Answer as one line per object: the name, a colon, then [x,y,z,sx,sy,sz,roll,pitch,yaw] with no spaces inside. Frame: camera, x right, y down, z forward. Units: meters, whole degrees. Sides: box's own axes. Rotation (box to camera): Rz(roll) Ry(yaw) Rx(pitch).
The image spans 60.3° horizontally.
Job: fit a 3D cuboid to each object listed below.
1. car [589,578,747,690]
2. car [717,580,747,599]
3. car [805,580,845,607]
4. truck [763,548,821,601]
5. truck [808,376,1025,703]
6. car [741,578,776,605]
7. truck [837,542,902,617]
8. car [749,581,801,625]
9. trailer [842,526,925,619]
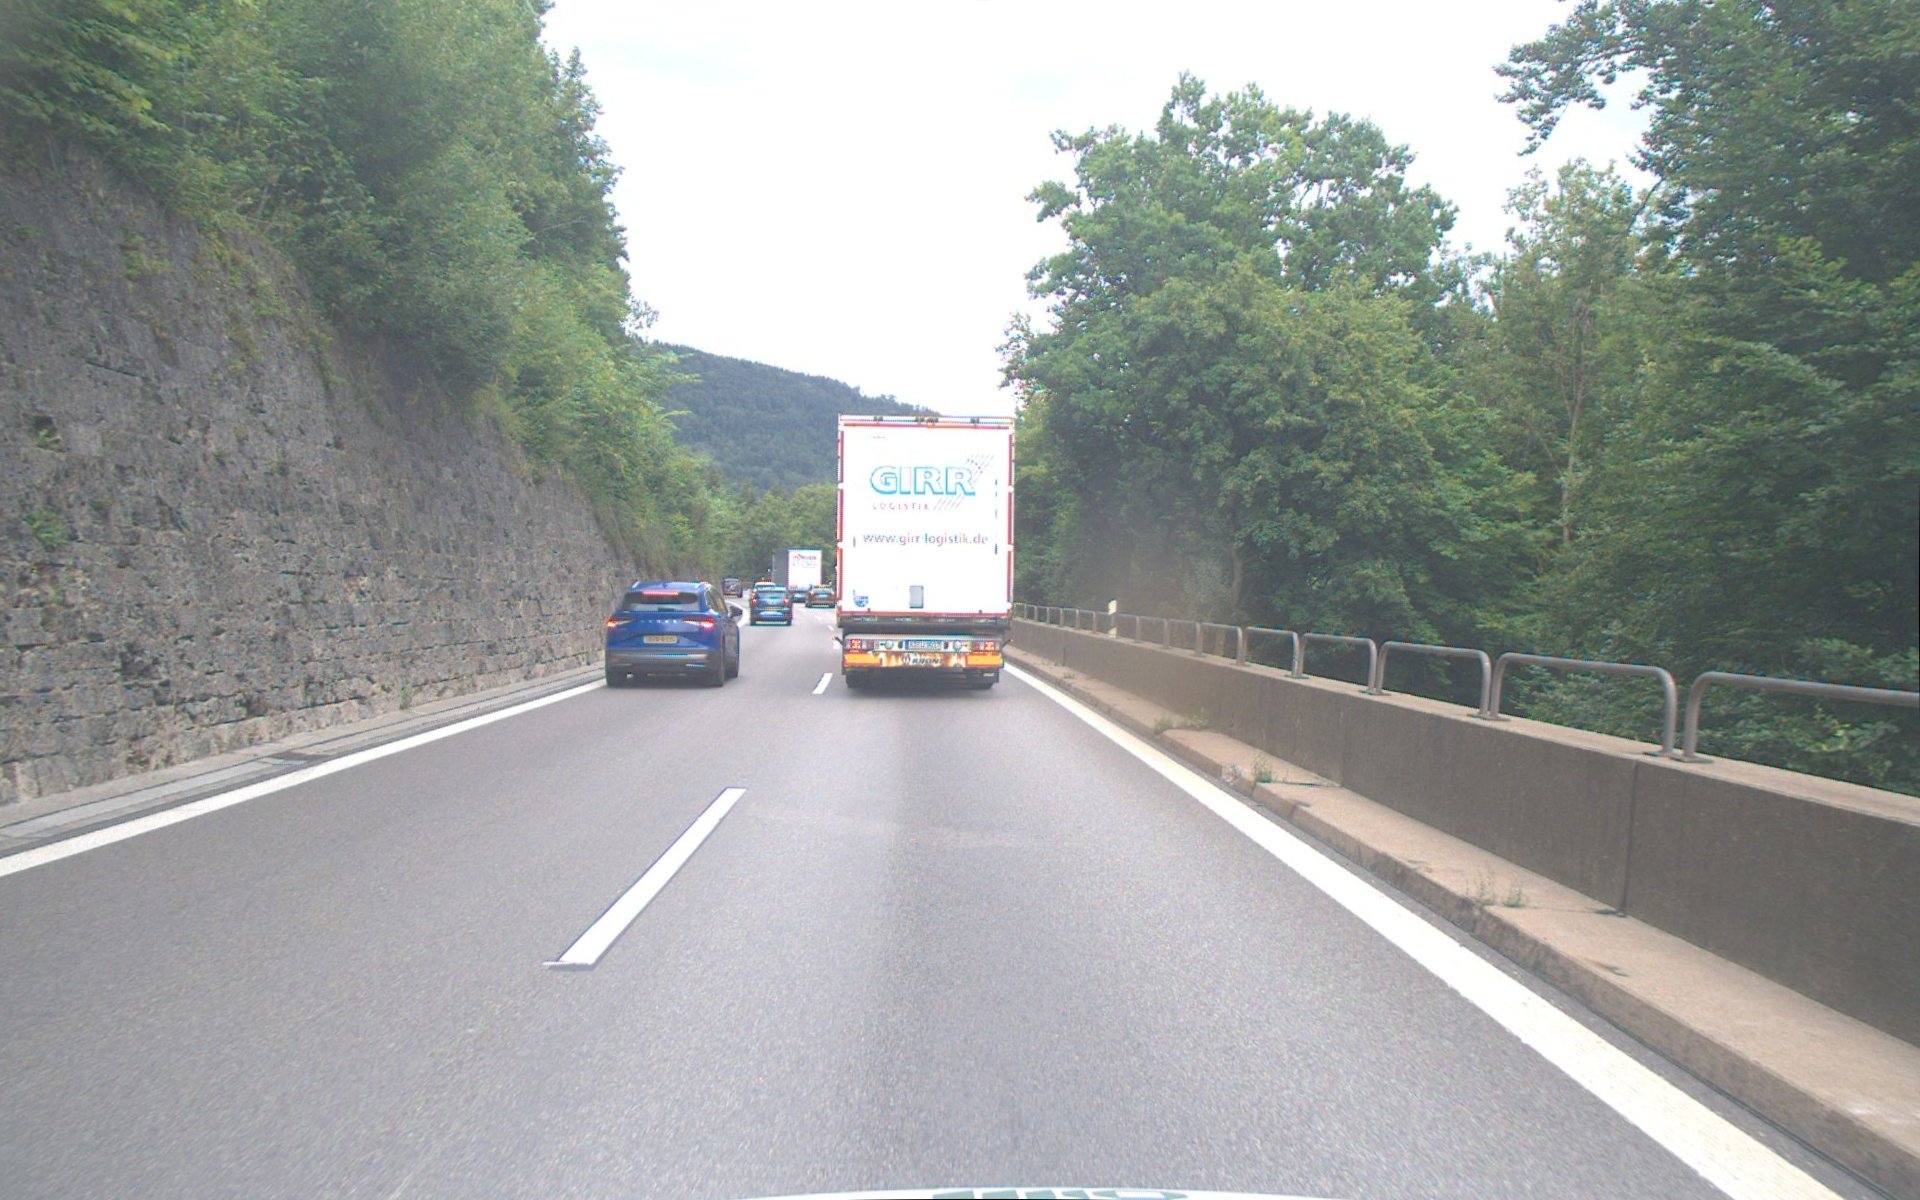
car: [-4.687,0.497,27.237,1.954,1.660,5.005,0,0,-3]
car: [-19.703,-0.923,142.834,1.867,1.577,4.228,1,1,-18]
car: [-8.724,-0.419,106.617,2.025,1.683,3.987,0,1,-13]
truck: [-13.127,-1.928,128.107,2.591,3.925,12.309,0,1,-15]
truck: [-0.790,-0.934,30.613,3.022,4.542,15.151,0,1,-1]
car: [-12.758,-0.551,104.552,1.863,1.577,4.237,1,1,-12]
truck: [-3.741,-0.809,67.441,2.168,2.901,4.994,1,0,-9]
car: [-7.412,0.102,65.861,1.956,1.624,4.346,2,0,-7]
trailer: [-2.986,-0.977,61.582,2.170,3.101,11.121,1,0,-7]
